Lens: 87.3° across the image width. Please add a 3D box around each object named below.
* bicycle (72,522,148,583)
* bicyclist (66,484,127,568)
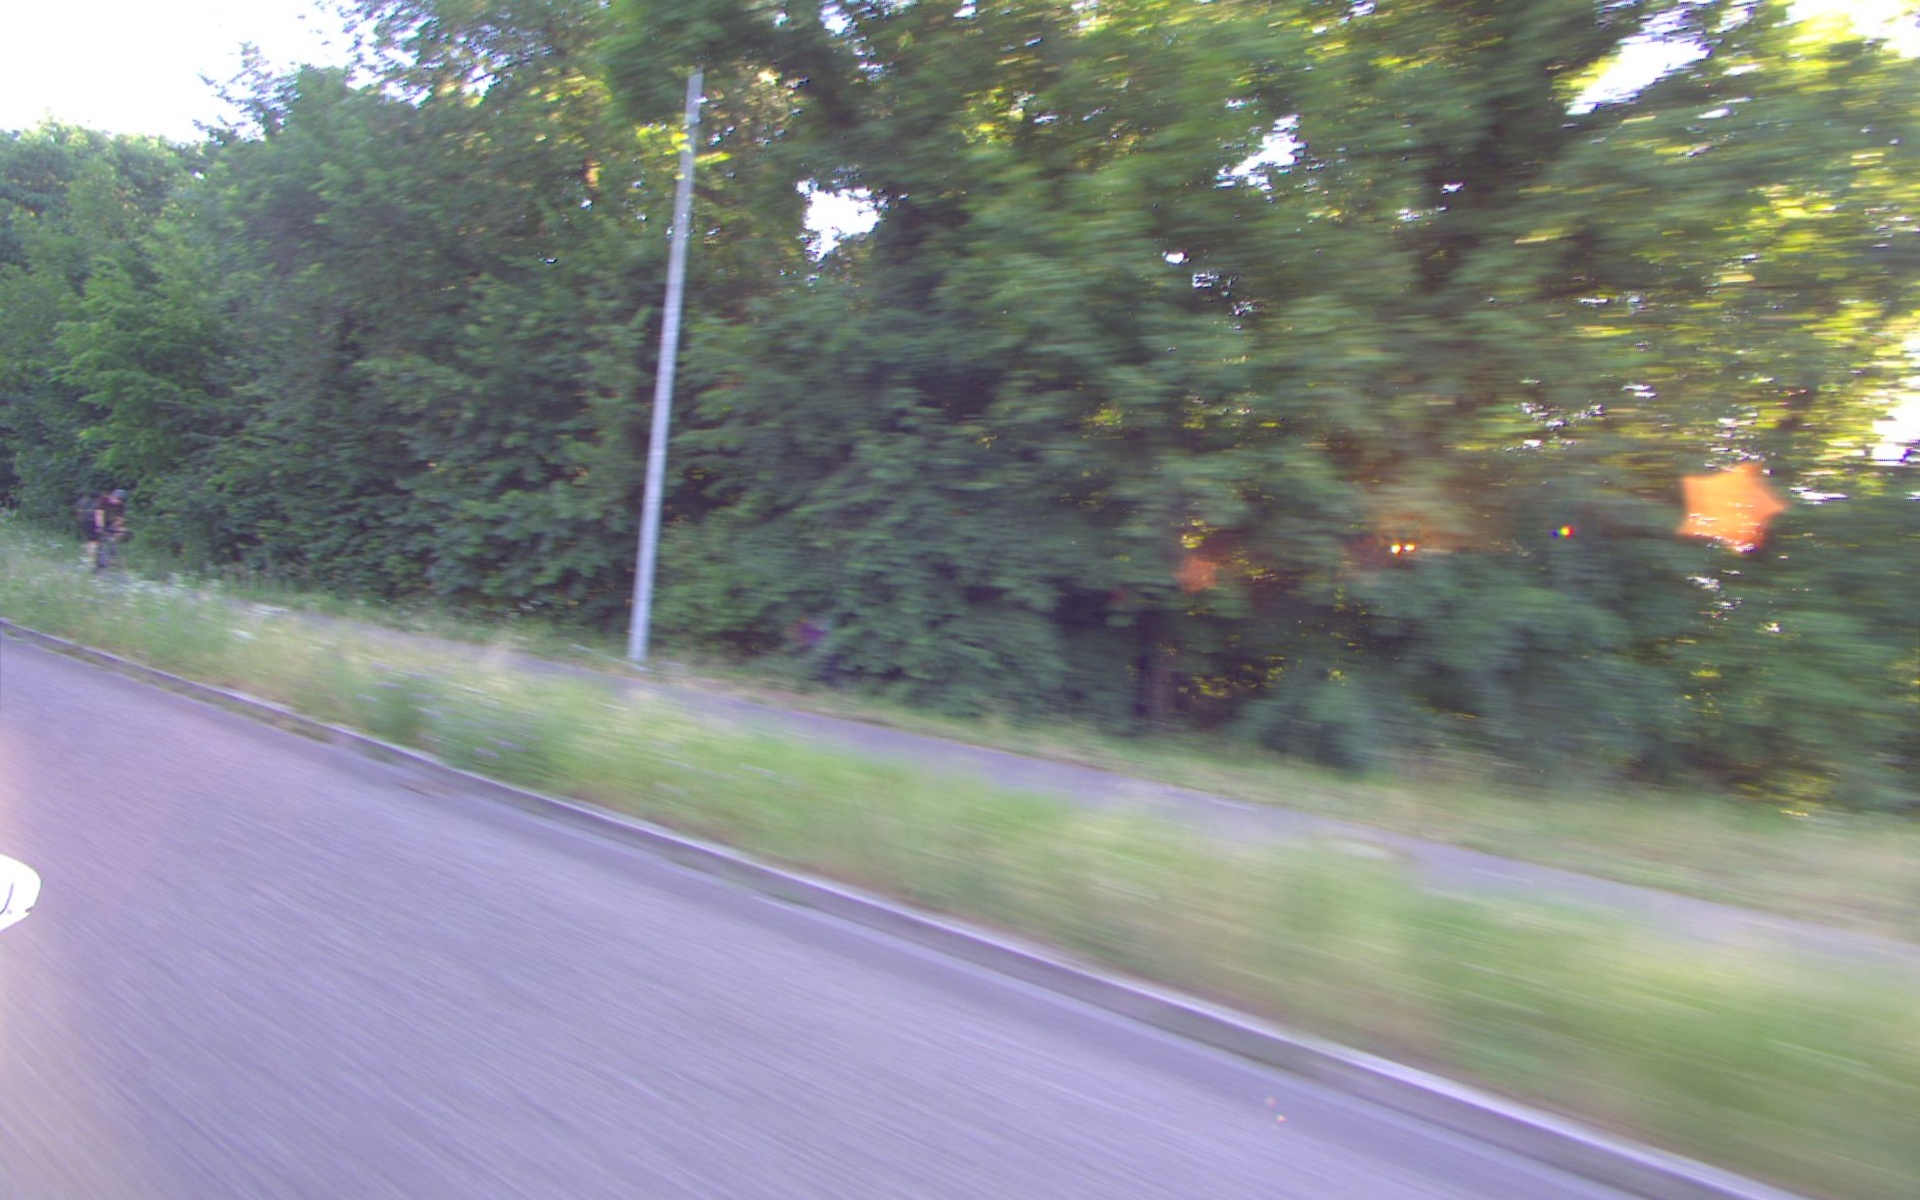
[{"bbox_3d":[-16.033,-0.902,18.963,1.664,1.008,0.611,6,1,33],"label":"bicycle"},{"bbox_3d":[-16.227,-1.380,18.906,0.767,1.474,0.603,7,2,33],"label":"bicyclist"}]
